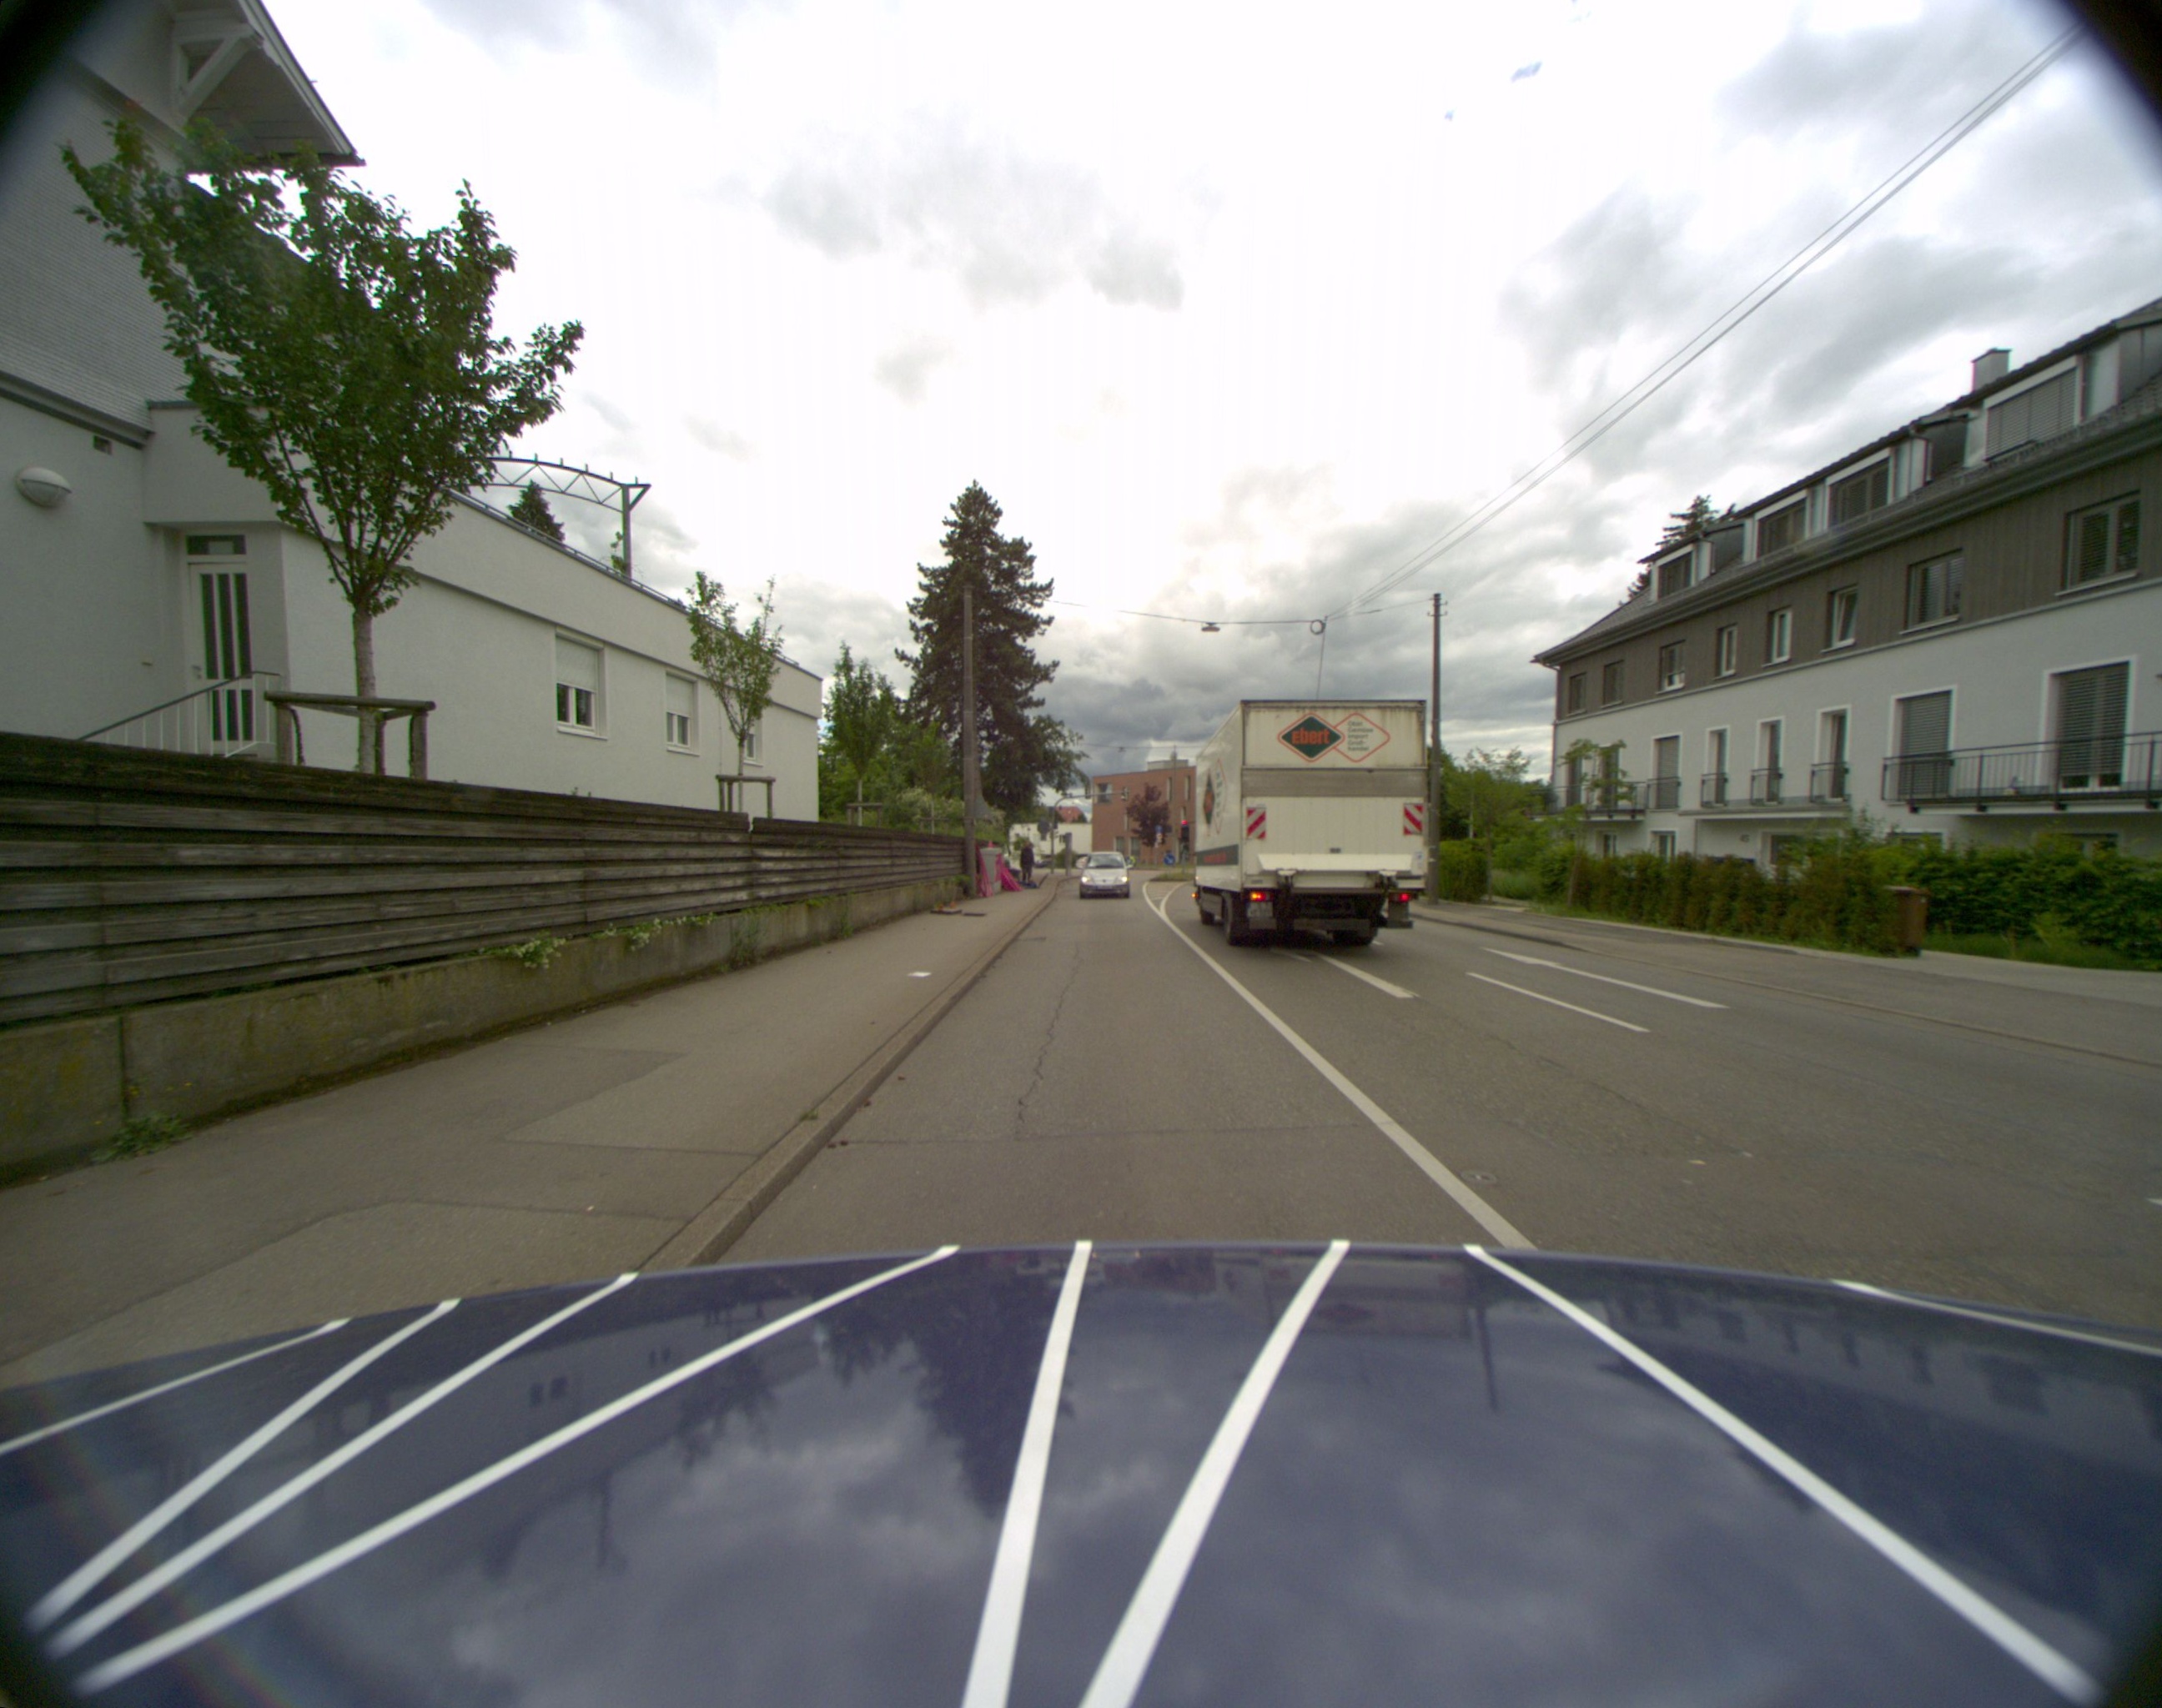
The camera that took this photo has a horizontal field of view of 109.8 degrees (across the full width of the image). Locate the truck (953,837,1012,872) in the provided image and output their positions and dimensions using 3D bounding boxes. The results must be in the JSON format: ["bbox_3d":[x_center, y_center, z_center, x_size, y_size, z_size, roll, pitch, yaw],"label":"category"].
[{"bbox_3d":[-6.958,0.007,53.122,2.407,2.338,6.176,-1,0,-24],"label":"truck"}]

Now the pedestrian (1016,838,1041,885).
[{"bbox_3d":[-2.156,0.288,31.308,0.849,1.912,0.800,0,1,-19],"label":"pedestrian"}]

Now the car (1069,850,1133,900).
[{"bbox_3d":[0.738,0.660,26.024,1.998,1.586,4.001,-1,0,3],"label":"car"}]

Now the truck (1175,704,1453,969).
[{"bbox_3d":[3.495,-0.317,13.673,2.784,3.442,7.492,0,2,1],"label":"truck"}]

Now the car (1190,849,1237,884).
[{"bbox_3d":[6.236,0.543,35.485,1.828,1.476,4.753,1,0,13],"label":"car"}]

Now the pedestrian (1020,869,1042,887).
[{"bbox_3d":[-1.992,0.957,30.308,0.648,0.692,0.583,0,1,-40],"label":"pedestrian"}]

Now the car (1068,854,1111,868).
[{"bbox_3d":[0.971,0.778,85.928,4.442,1.549,1.996,0,0,-23],"label":"car"}]
